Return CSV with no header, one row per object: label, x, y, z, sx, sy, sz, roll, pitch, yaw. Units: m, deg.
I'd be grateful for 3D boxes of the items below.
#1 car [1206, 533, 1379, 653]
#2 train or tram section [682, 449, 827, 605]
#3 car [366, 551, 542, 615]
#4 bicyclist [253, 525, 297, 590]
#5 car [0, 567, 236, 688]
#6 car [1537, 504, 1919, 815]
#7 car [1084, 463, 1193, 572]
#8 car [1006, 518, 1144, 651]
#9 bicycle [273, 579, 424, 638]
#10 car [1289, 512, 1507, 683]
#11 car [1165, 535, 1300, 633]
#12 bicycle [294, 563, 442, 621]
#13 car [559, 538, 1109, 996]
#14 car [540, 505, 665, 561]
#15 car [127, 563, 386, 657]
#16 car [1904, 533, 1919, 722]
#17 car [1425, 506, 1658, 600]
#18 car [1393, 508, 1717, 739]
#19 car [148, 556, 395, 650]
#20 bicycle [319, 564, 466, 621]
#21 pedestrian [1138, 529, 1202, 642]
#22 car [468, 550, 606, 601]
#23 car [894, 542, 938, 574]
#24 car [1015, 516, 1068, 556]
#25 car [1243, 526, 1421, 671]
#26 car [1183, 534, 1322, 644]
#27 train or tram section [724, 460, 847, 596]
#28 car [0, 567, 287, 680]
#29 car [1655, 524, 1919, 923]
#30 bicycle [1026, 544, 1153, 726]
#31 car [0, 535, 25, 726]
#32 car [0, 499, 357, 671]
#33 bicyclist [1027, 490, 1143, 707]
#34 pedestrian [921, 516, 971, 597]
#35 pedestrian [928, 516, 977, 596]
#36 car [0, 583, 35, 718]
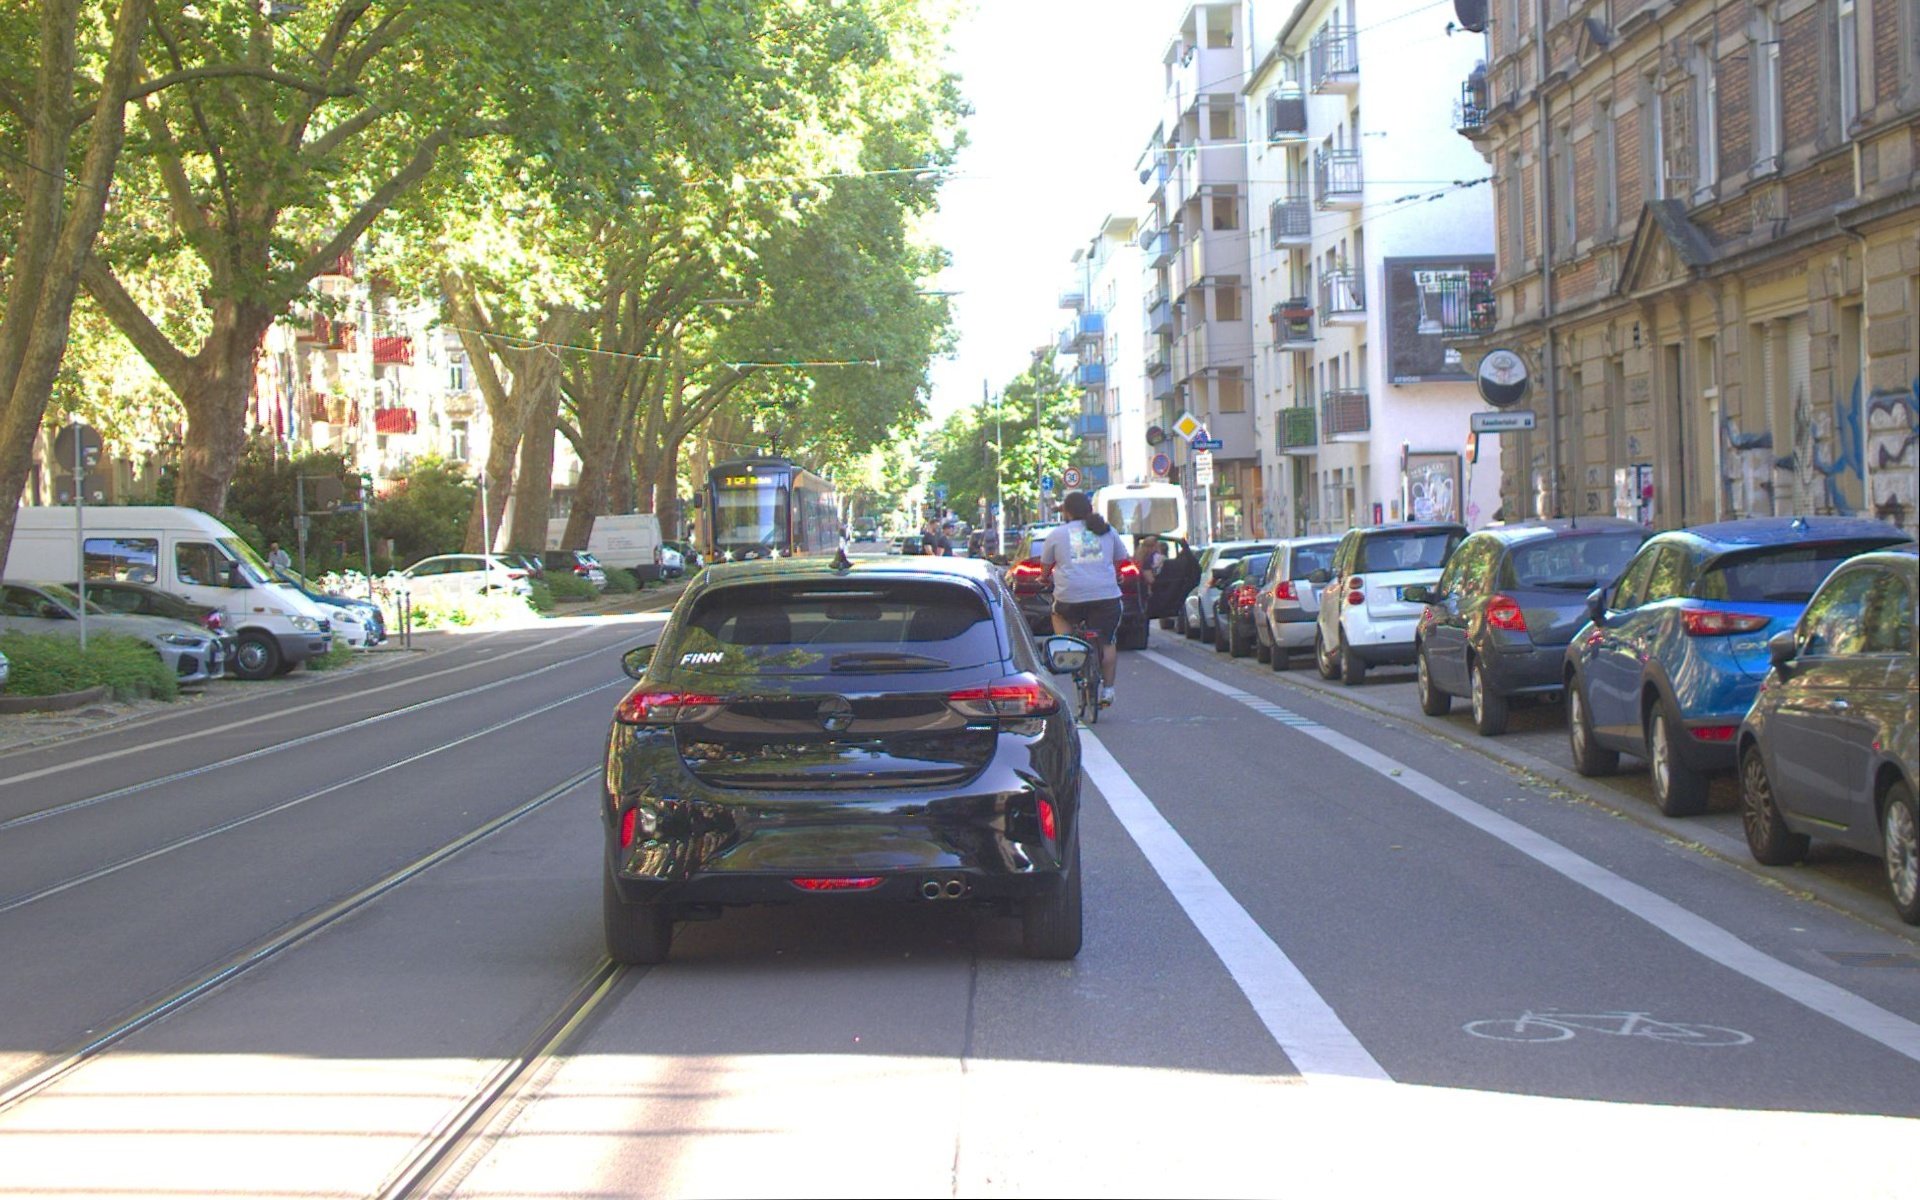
car,4.250,-0.121,44.500,1.810,1.333,3.933,-5,1,1
train or tram section,-5.234,-1.881,89.625,2.735,3.669,12.717,-2,1,1
car,-11.815,-0.408,80.460,3.919,1.493,1.677,0,1,-3
bicyclist,-18.583,-1.155,93.286,0.987,1.750,1.154,-1,1,-2
car,-11.359,0.337,43.748,3.920,1.493,1.677,0,1,1
car,4.597,0.260,19.598,1.880,1.451,4.026,-5,1,1
car,3.965,-1.843,77.232,2.075,2.211,4.933,-5,1,1
car,1.578,-0.241,48.258,1.810,1.736,3.933,-2,1,1
bicycle,-12.776,0.179,71.829,2.945,1.165,0.989,-1,1,17
car,4.361,-0.046,34.603,1.567,1.512,3.041,-5,1,-2
car,4.351,-0.290,55.420,1.810,1.374,3.933,-5,1,1
bicycle,-12.551,-0.165,72.910,2.945,1.165,0.989,-1,1,17
car,-0.438,0.523,13.172,1.794,1.436,3.532,-1,2,-1
car,-11.526,-2.169,110.878,3.919,1.784,1.677,0,1,-3
car,-11.437,0.149,56.067,3.919,1.493,1.677,0,1,-3
car,4.507,0.493,10.549,1.880,1.580,3.933,-5,1,-2
car,11.815,-0.960,69.996,4.377,1.792,1.876,-1,1,-1
car,4.417,0.131,26.039,1.710,1.478,3.764,-5,1,1
car,-11.704,0.043,58.585,3.919,1.572,1.677,0,1,-3
bicycle,-12.213,-0.164,73.995,2.945,1.165,0.989,-1,1,17
pedestrian,2.948,-0.214,48.351,0.866,1.561,0.768,-1,1,3
car,-12.465,-0.741,101.515,3.919,1.493,1.677,0,1,-3
car,-1.904,-1.823,149.105,1.809,1.333,3.933,-1,1,-2
car,3.013,-2.372,127.657,1.810,1.333,3.933,-5,1,1
car,4.243,-0.053,39.657,1.705,1.451,3.697,-5,1,3
car,4.269,-0.191,50.625,1.662,1.414,3.933,-5,1,1
train or tram section,-5.063,-2.120,102.272,2.735,3.669,12.717,-2,1,1
car,-11.295,0.310,46.918,3.919,1.493,1.677,0,1,-2
car,4.424,0.412,15.090,1.798,1.451,3.768,-5,1,-1
bicycle,1.041,0.256,28.234,0.860,1.402,2.524,-1,1,-2
car,-11.956,0.308,34.335,4.675,1.917,1.980,0,1,1
car,-12.209,-0.229,49.429,6.628,2.401,2.458,0,1,0
bicyclist,1.023,-0.025,28.298,0.848,1.734,1.162,-1,1,-1
pedestrian,-0.267,-0.849,66.883,0.680,1.561,0.768,-1,1,26
pedestrian,-0.151,-0.866,67.698,0.680,1.561,0.768,-1,1,26
car,-12.058,0.537,37.043,3.734,1.425,1.637,0,1,0
